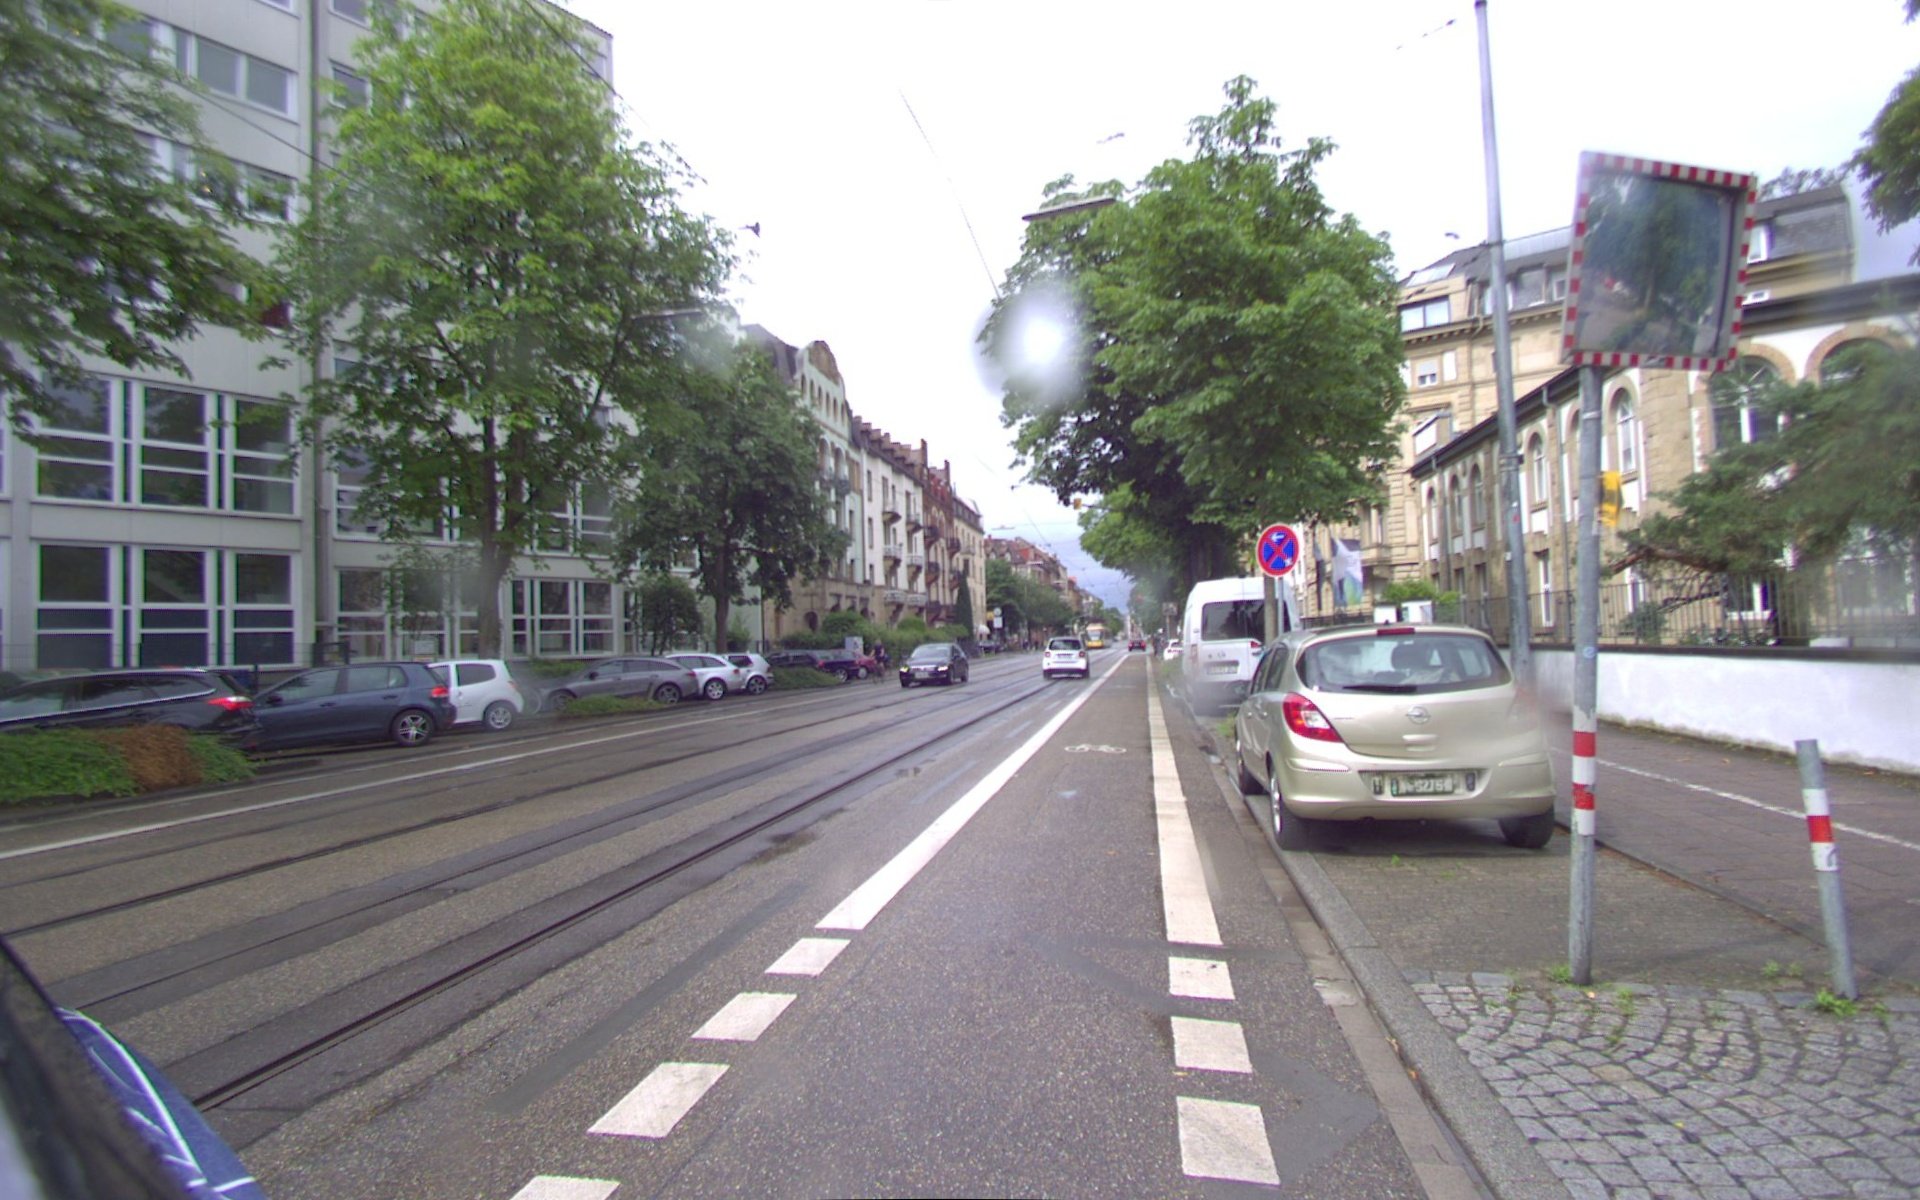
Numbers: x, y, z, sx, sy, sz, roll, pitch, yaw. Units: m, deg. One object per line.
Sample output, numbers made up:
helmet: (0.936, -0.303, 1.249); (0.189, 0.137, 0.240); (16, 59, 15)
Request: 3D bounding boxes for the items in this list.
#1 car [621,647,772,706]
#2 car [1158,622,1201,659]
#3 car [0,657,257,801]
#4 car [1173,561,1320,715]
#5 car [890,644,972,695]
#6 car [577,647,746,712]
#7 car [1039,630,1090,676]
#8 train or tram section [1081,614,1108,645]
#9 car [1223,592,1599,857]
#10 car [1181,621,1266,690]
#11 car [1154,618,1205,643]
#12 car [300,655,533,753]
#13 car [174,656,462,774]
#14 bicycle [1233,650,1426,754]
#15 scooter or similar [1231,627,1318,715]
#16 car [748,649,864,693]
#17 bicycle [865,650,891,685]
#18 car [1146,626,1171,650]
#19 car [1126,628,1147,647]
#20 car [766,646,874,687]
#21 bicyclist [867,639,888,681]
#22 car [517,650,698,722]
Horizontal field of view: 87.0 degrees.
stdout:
car: (-8.530, 2.450, 32.831); (4.299, 1.463, 1.911); (-3, -2, -33)
car: (10.422, 1.897, 47.905); (1.777, 1.509, 4.013); (-5, -2, 13)
car: (-11.977, 1.739, 13.413); (4.299, 1.567, 1.883); (-3, -3, -35)
car: (5.523, 0.759, 20.225); (2.117, 2.529, 5.255); (-5, -3, 10)
car: (-0.939, 2.404, 35.746); (1.978, 1.492, 4.750); (-4, -2, 9)
car: (-8.745, 2.304, 29.756); (4.321, 1.463, 1.890); (-3, -2, -33)
car: (3.938, 1.963, 38.017); (1.598, 1.526, 2.598); (-4, -2, 11)
train or tram section: (18.921, 4.066, 141.727); (2.990, 3.902, 9.543); (-4, -2, 10)
car: (3.115, 0.815, 7.850); (1.672, 1.471, 3.820); (-5, -3, 10)
car: (6.782, 1.439, 26.388); (1.895, 1.562, 3.356); (-4, -3, 12)
car: (28.543, 3.987, 131.716); (5.635, 2.852, 2.759); (-4, -2, -7)
car: (-10.660, 1.975, 19.924); (3.817, 1.464, 1.782); (-3, -2, -35)
car: (-10.591, 1.841, 16.887); (3.817, 1.464, 1.827); (-3, -2, -35)
bicycle: (4.213, 1.167, 11.683); (1.907, 0.994, 0.683); (-6, -2, 10)
scooter or similar: (4.839, 1.089, 15.589); (1.129, 1.287, 0.427); (-1, -5, -14)
car: (-6.484, 2.955, 42.665); (4.364, 1.463, 1.912); (-3, -2, -26)
bicycle: (-3.309, 2.714, 40.869); (0.637, 1.275, 1.865); (-4, -2, 5)
car: (16.707, 3.182, 85.307); (1.846, 1.766, 4.106); (-4, -2, 10)
car: (19.778, 4.238, 113.473); (1.830, 1.900, 3.905); (-5, -2, 15)
car: (-6.289, 2.972, 45.625); (4.364, 1.463, 1.912); (-3, -2, -26)
bicyclist: (-3.327, 2.399, 40.909); (0.637, 1.629, 0.673); (-4, -2, 6)
car: (-9.286, 2.221, 26.740); (4.136, 1.463, 1.819); (-3, -2, -33)
